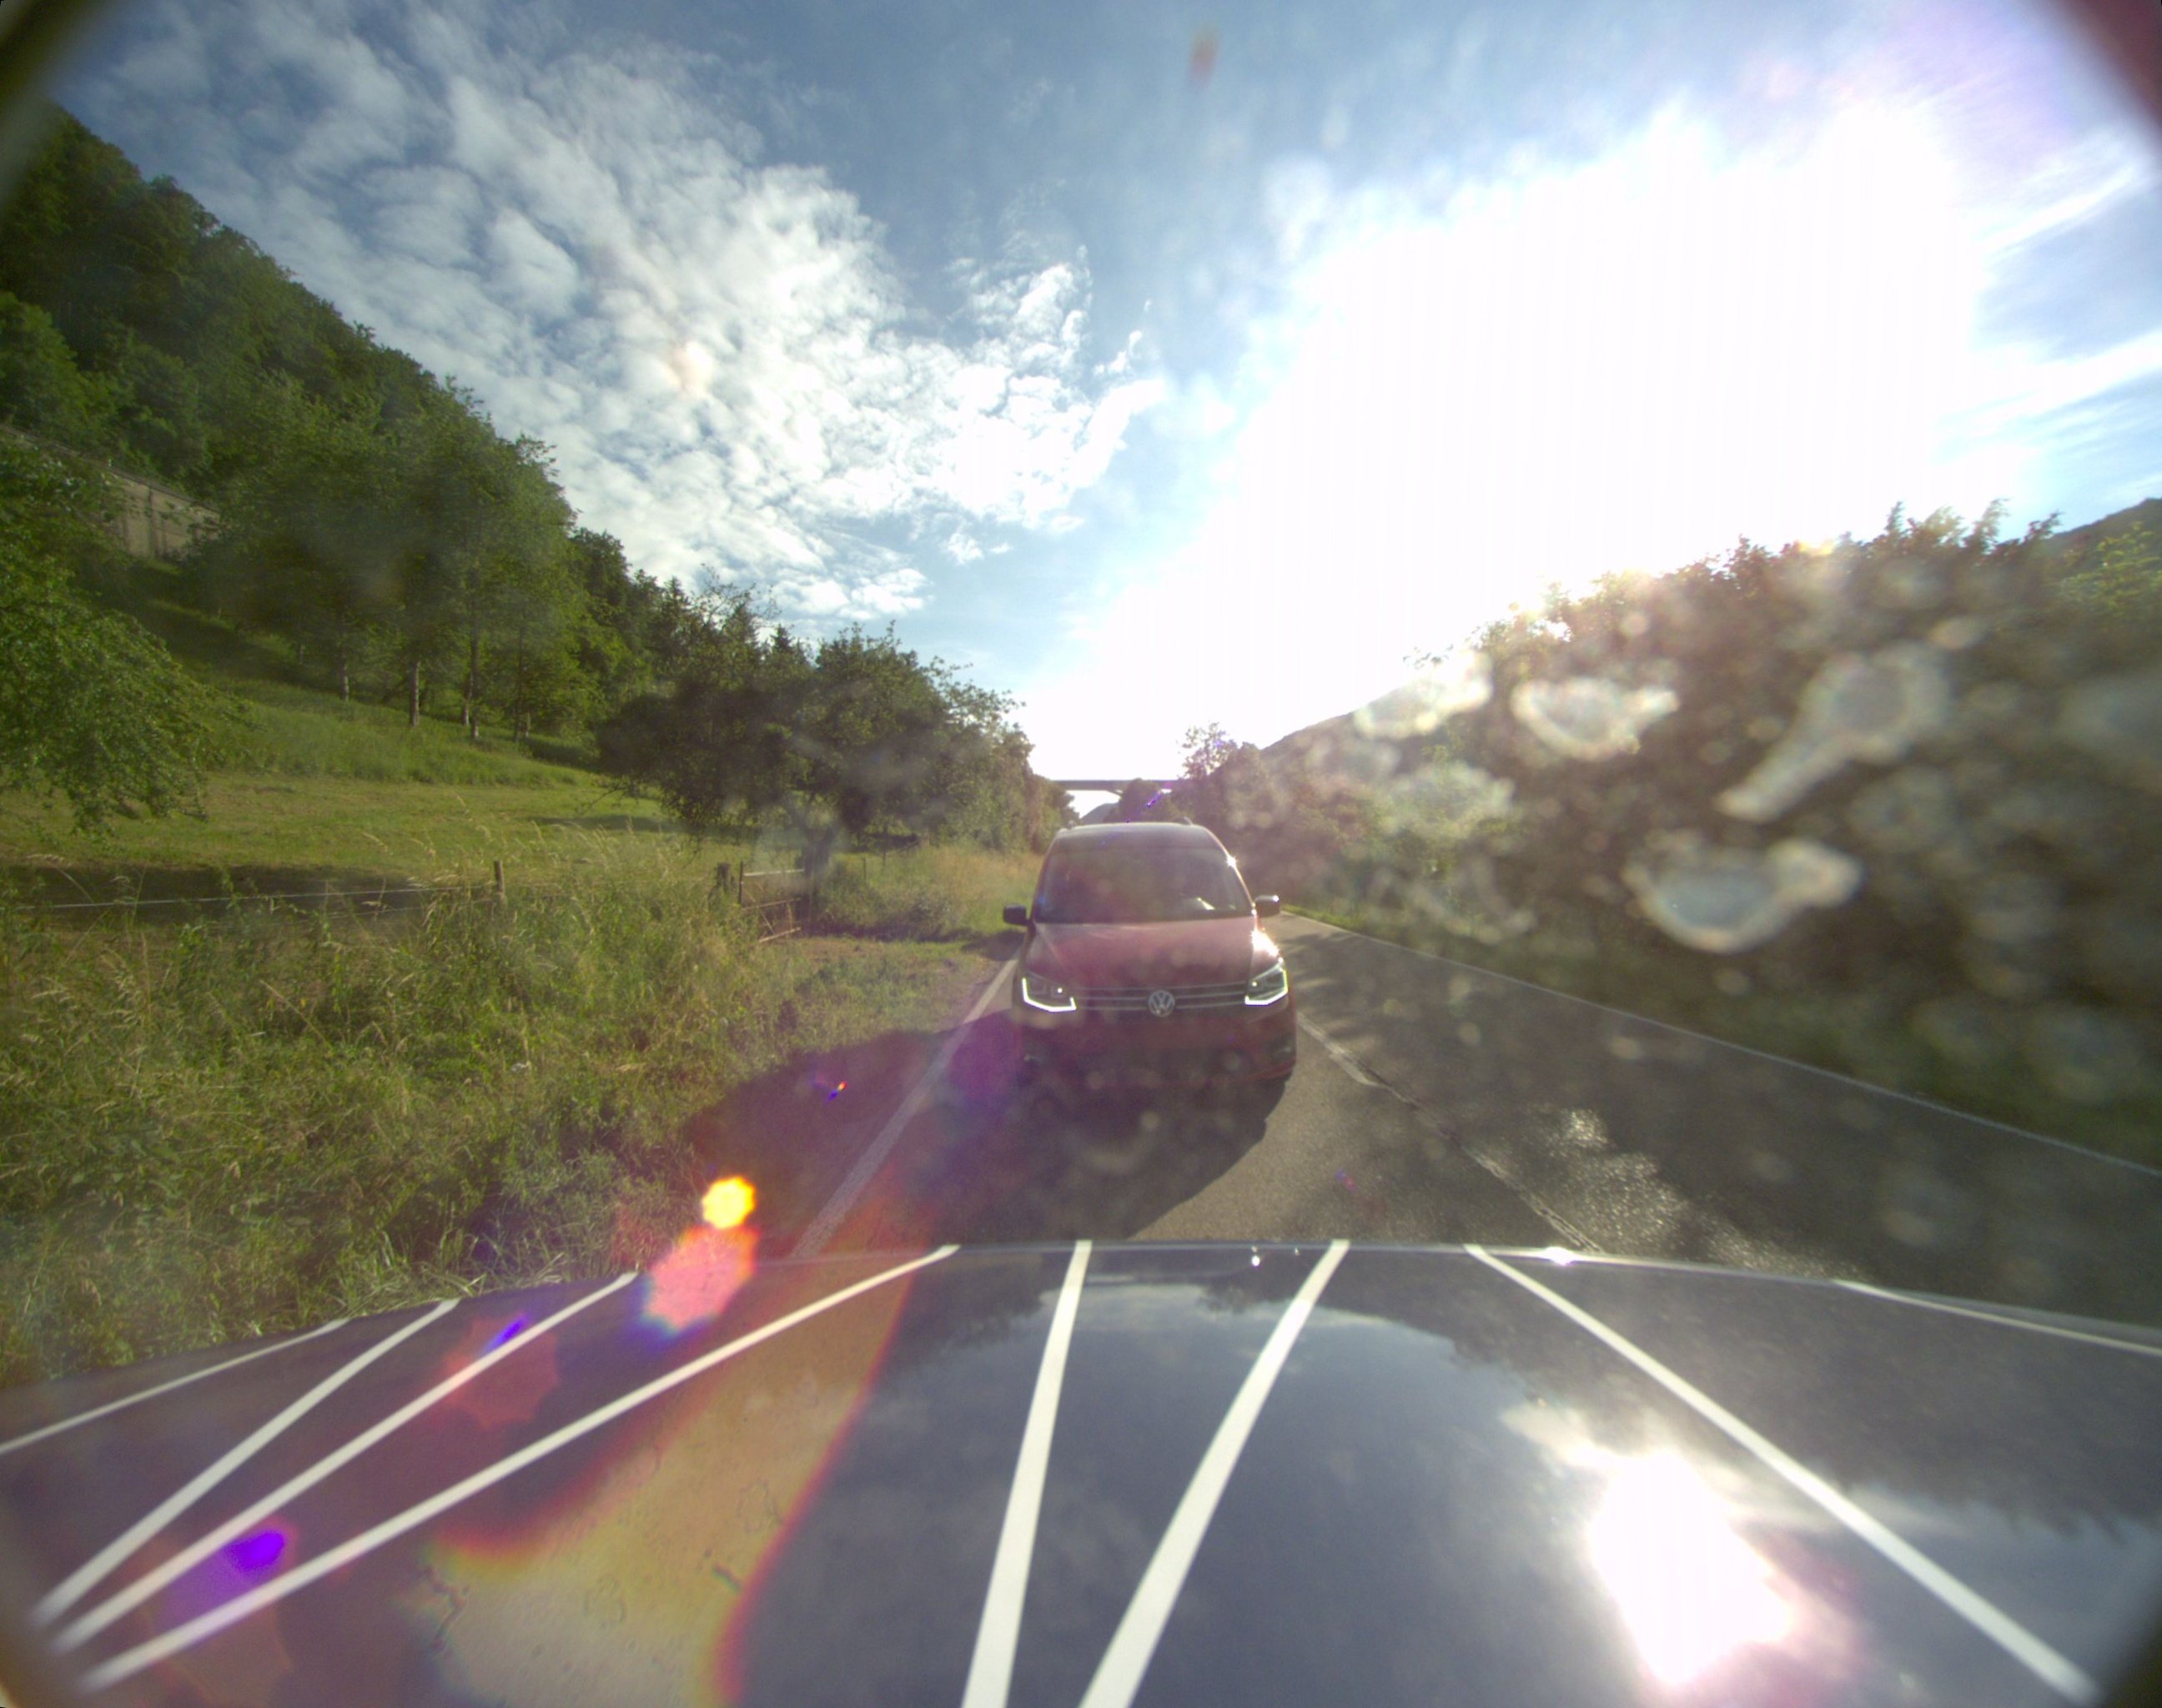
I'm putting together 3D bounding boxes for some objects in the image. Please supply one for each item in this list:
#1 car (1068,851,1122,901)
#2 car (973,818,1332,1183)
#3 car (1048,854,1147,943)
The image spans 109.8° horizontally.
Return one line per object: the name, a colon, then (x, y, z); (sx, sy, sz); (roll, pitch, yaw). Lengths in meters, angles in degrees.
car: (0.512, 0.738, 27.945); (1.753, 1.608, 4.288); (-3, 1, 1)
car: (0.408, 0.742, 6.065); (1.753, 1.800, 4.288); (-3, 1, 1)
car: (0.346, 0.824, 16.281); (1.753, 1.513, 4.288); (-3, 1, 1)
